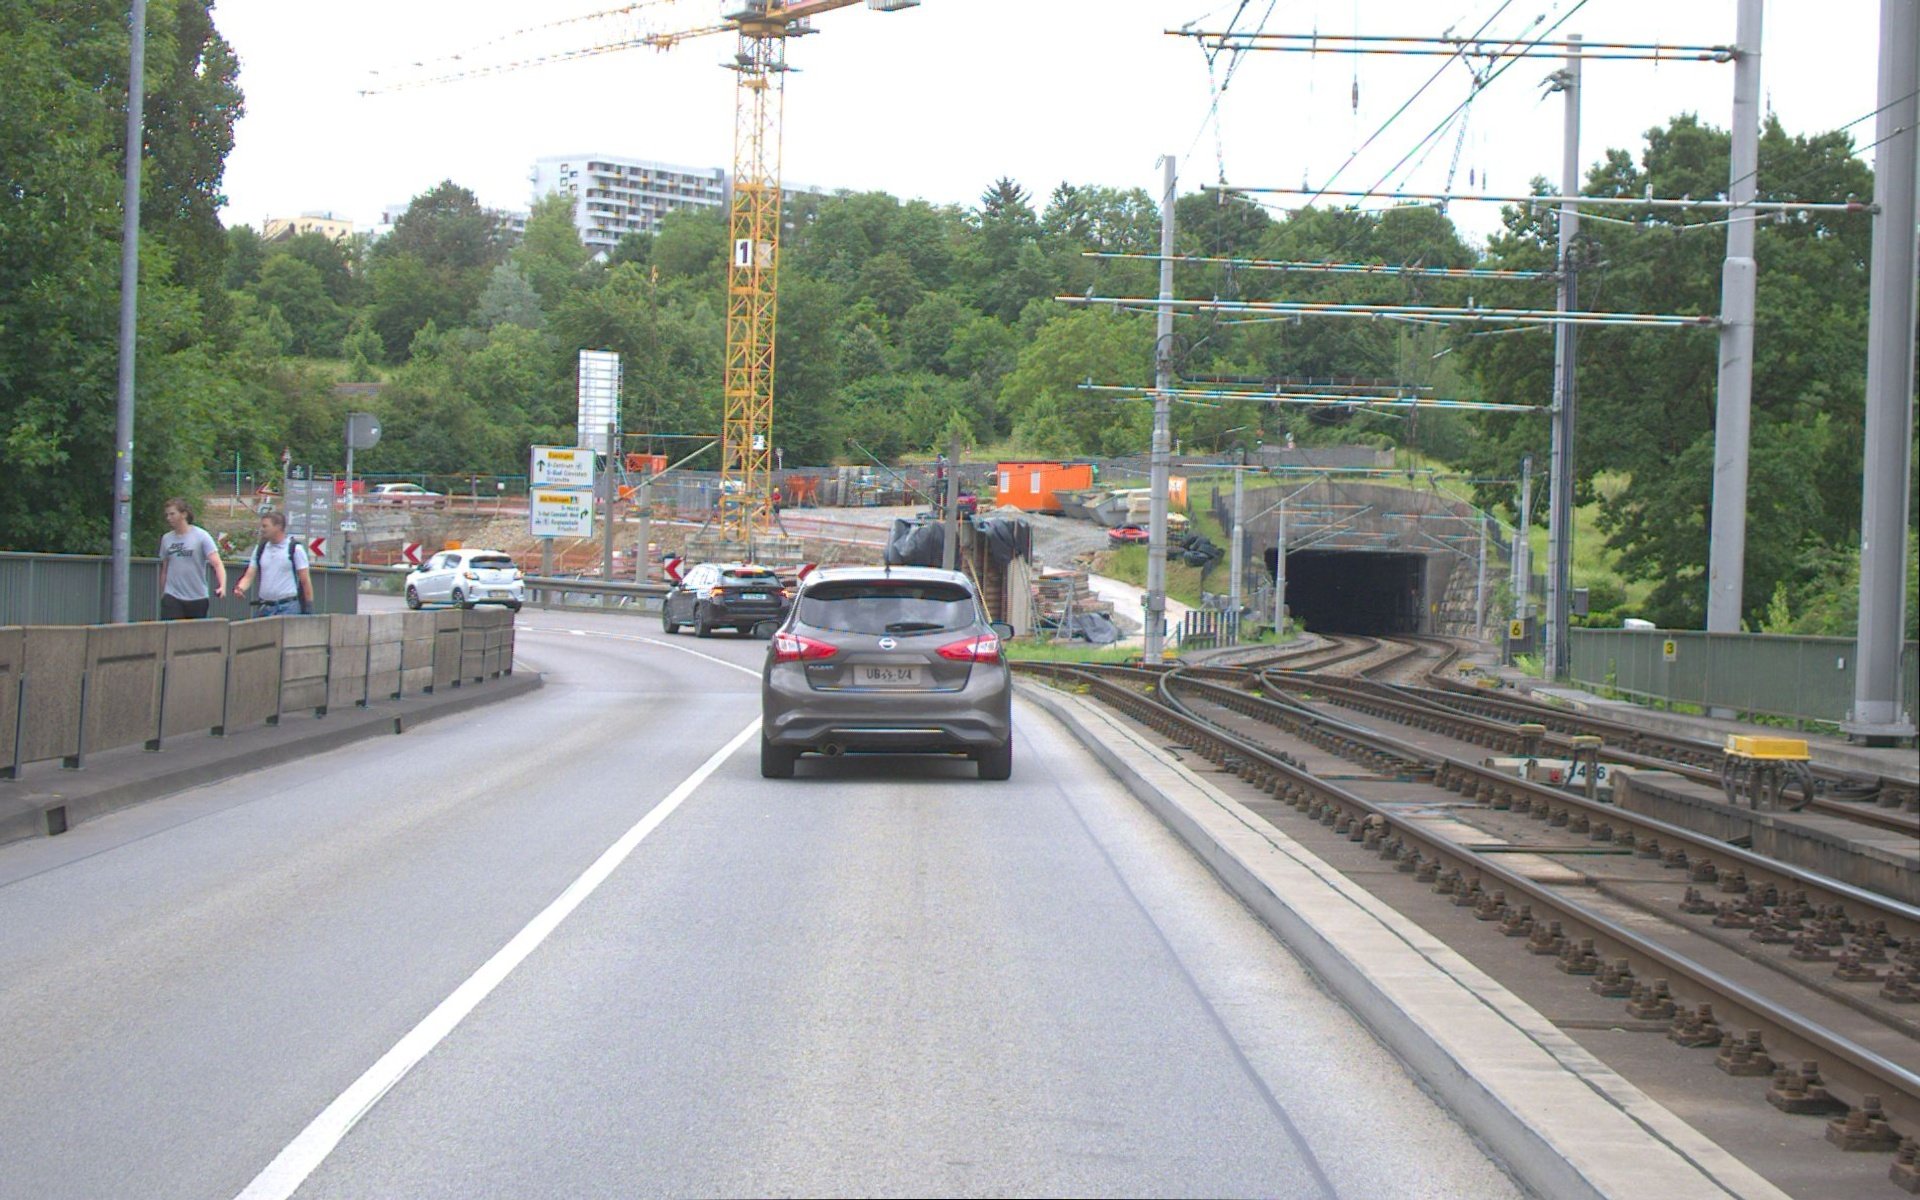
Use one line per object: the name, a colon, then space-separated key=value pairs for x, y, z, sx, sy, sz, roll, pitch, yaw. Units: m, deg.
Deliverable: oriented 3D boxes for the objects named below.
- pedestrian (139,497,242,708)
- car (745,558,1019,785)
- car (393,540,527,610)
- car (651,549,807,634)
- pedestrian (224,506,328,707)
pedestrian: x=-6.858 y=0.018 z=30.665 sx=0.721 sy=1.833 sz=0.723 roll=2 pitch=1 yaw=-1
car: x=-0.532 y=0.472 z=25.370 sx=1.830 sy=1.505 sz=4.000 roll=1 pitch=0 yaw=0
car: x=-12.152 y=-0.622 z=83.337 sx=1.680 sy=1.601 sz=4.309 roll=0 pitch=1 yaw=-31
car: x=-4.668 y=-0.190 z=68.945 sx=1.679 sy=1.601 sz=4.310 roll=1 pitch=1 yaw=-25
pedestrian: x=-5.907 y=0.049 z=29.719 sx=0.721 sy=1.695 sz=0.723 roll=2 pitch=1 yaw=-1
